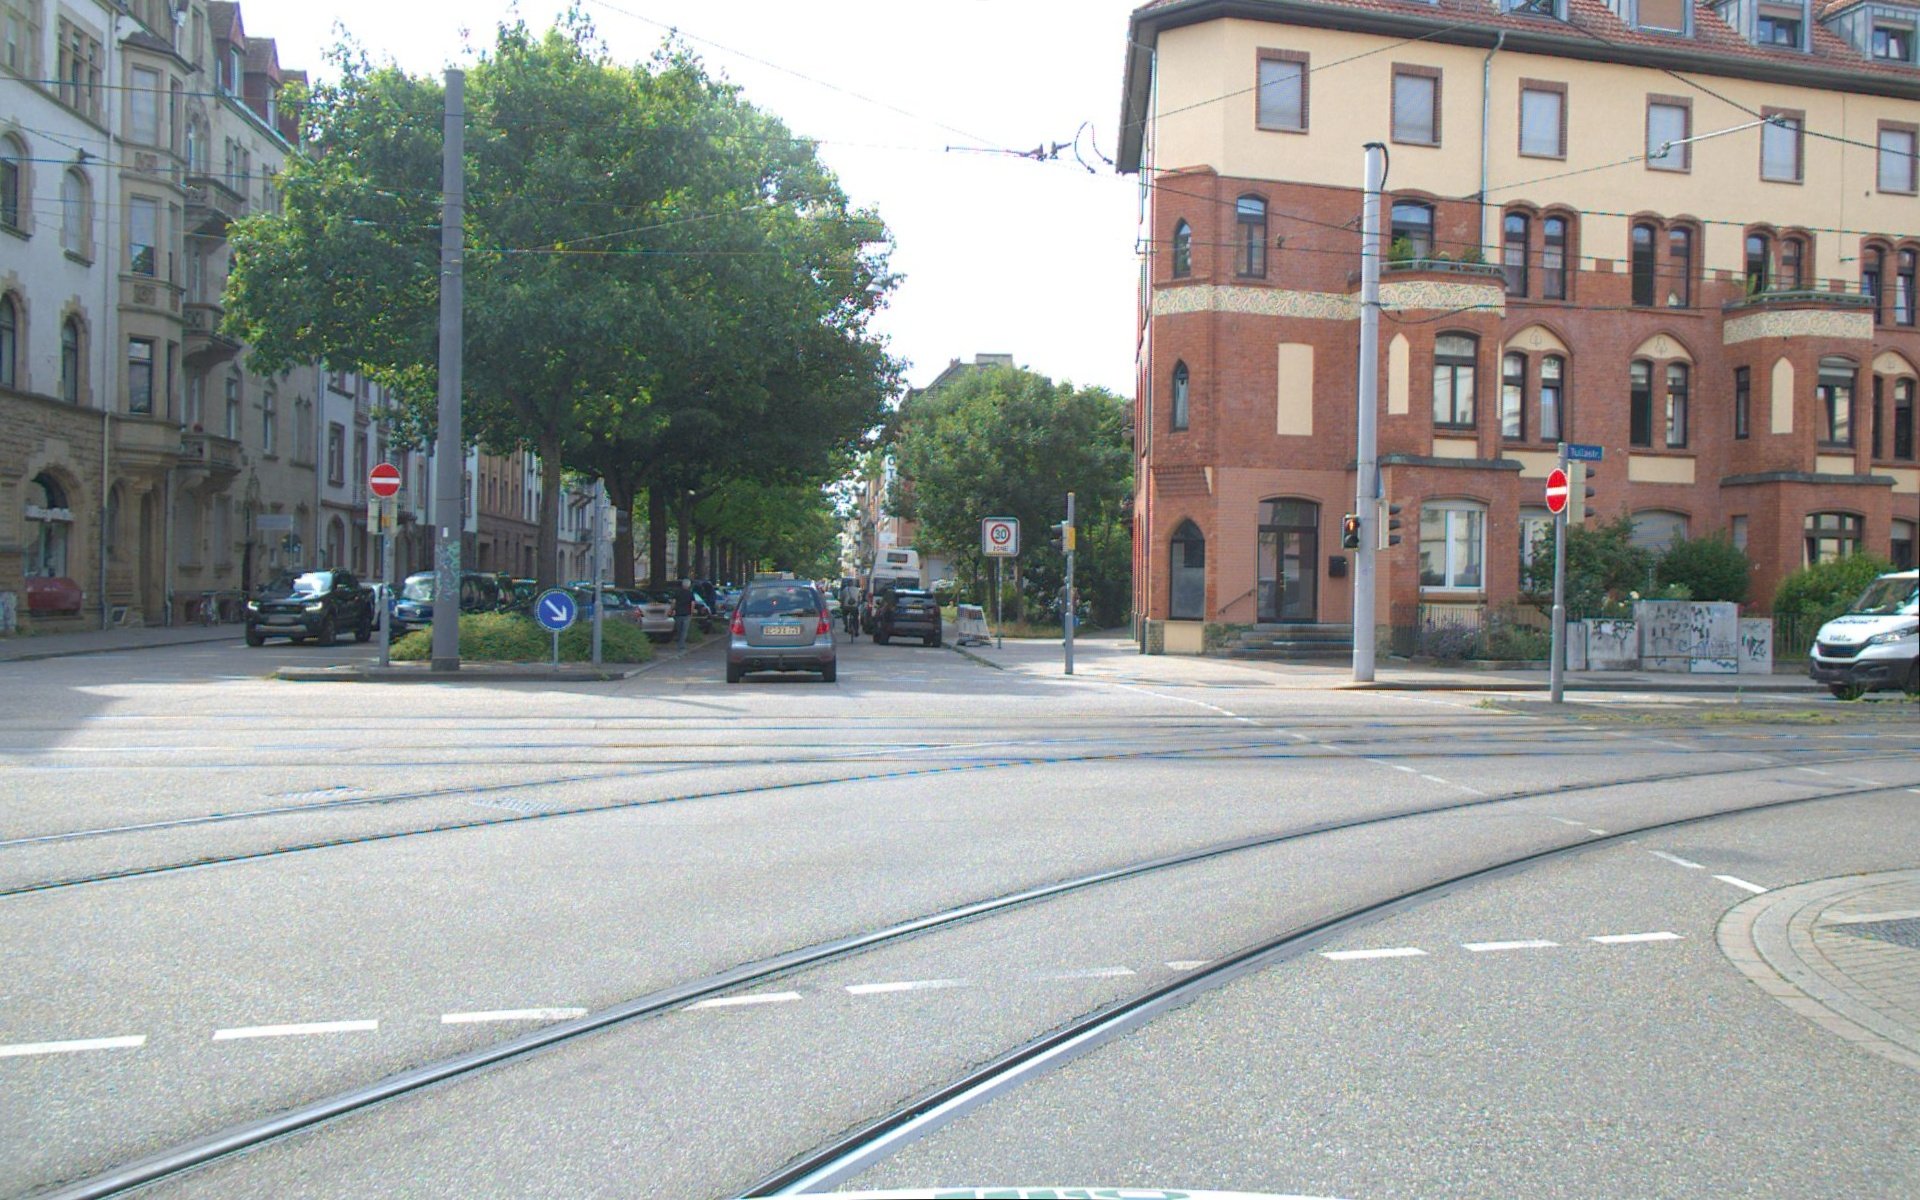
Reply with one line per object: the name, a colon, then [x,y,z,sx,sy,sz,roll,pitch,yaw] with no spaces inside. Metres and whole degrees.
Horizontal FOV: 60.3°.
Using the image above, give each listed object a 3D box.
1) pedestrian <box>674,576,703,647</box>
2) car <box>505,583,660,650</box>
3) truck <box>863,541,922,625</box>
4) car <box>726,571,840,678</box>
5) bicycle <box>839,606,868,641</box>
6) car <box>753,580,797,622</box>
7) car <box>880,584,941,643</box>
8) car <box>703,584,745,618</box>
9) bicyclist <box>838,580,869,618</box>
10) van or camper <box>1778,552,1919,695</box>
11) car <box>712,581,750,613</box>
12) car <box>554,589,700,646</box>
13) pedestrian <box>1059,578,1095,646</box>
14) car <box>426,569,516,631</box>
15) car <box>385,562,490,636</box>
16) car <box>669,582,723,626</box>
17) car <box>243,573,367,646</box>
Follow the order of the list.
pedestrian: [-6.769,0.289,41.284,0.638,1.755,0.494,1,0,-1]
car: [-9.239,0.371,40.325,1.959,1.521,3.936,0,1,-43]
truck: [-2.478,-0.624,61.733,2.080,3.022,3.999,0,0,-1]
car: [-2.832,0.360,27.050,1.688,1.633,3.674,0,0,-4]
bicycle: [-3.115,0.669,48.517,0.734,0.975,2.298,0,0,-1]
car: [-7.929,0.026,71.028,1.688,1.735,3.674,0,0,-4]
car: [-1.442,0.374,48.884,1.716,1.661,3.499,1,0,-1]
car: [-11.140,0.036,78.219,1.718,1.543,3.496,1,0,-4]
bicyclist: [-3.122,-0.038,48.521,0.819,1.101,1.400,0,0,-1]
van or camper: [17.515,0.403,28.182,6.409,2.293,2.241,1,0,-12]
car: [-11.745,-0.169,85.023,1.718,1.543,3.496,1,0,-4]
car: [-8.688,0.425,42.995,1.959,1.362,3.936,0,1,-43]
pedestrian: [2.937,0.301,41.528,0.851,1.685,0.736,1,0,0]
car: [-13.700,-0.017,46.582,1.957,1.646,3.991,0,0,-10]
car: [-12.997,-0.051,41.353,1.957,1.758,3.991,0,0,-10]
car: [-10.234,0.129,64.318,1.718,1.661,3.496,1,0,-4]
car: [-15.550,0.201,39.487,1.957,1.646,3.991,0,0,-10]
